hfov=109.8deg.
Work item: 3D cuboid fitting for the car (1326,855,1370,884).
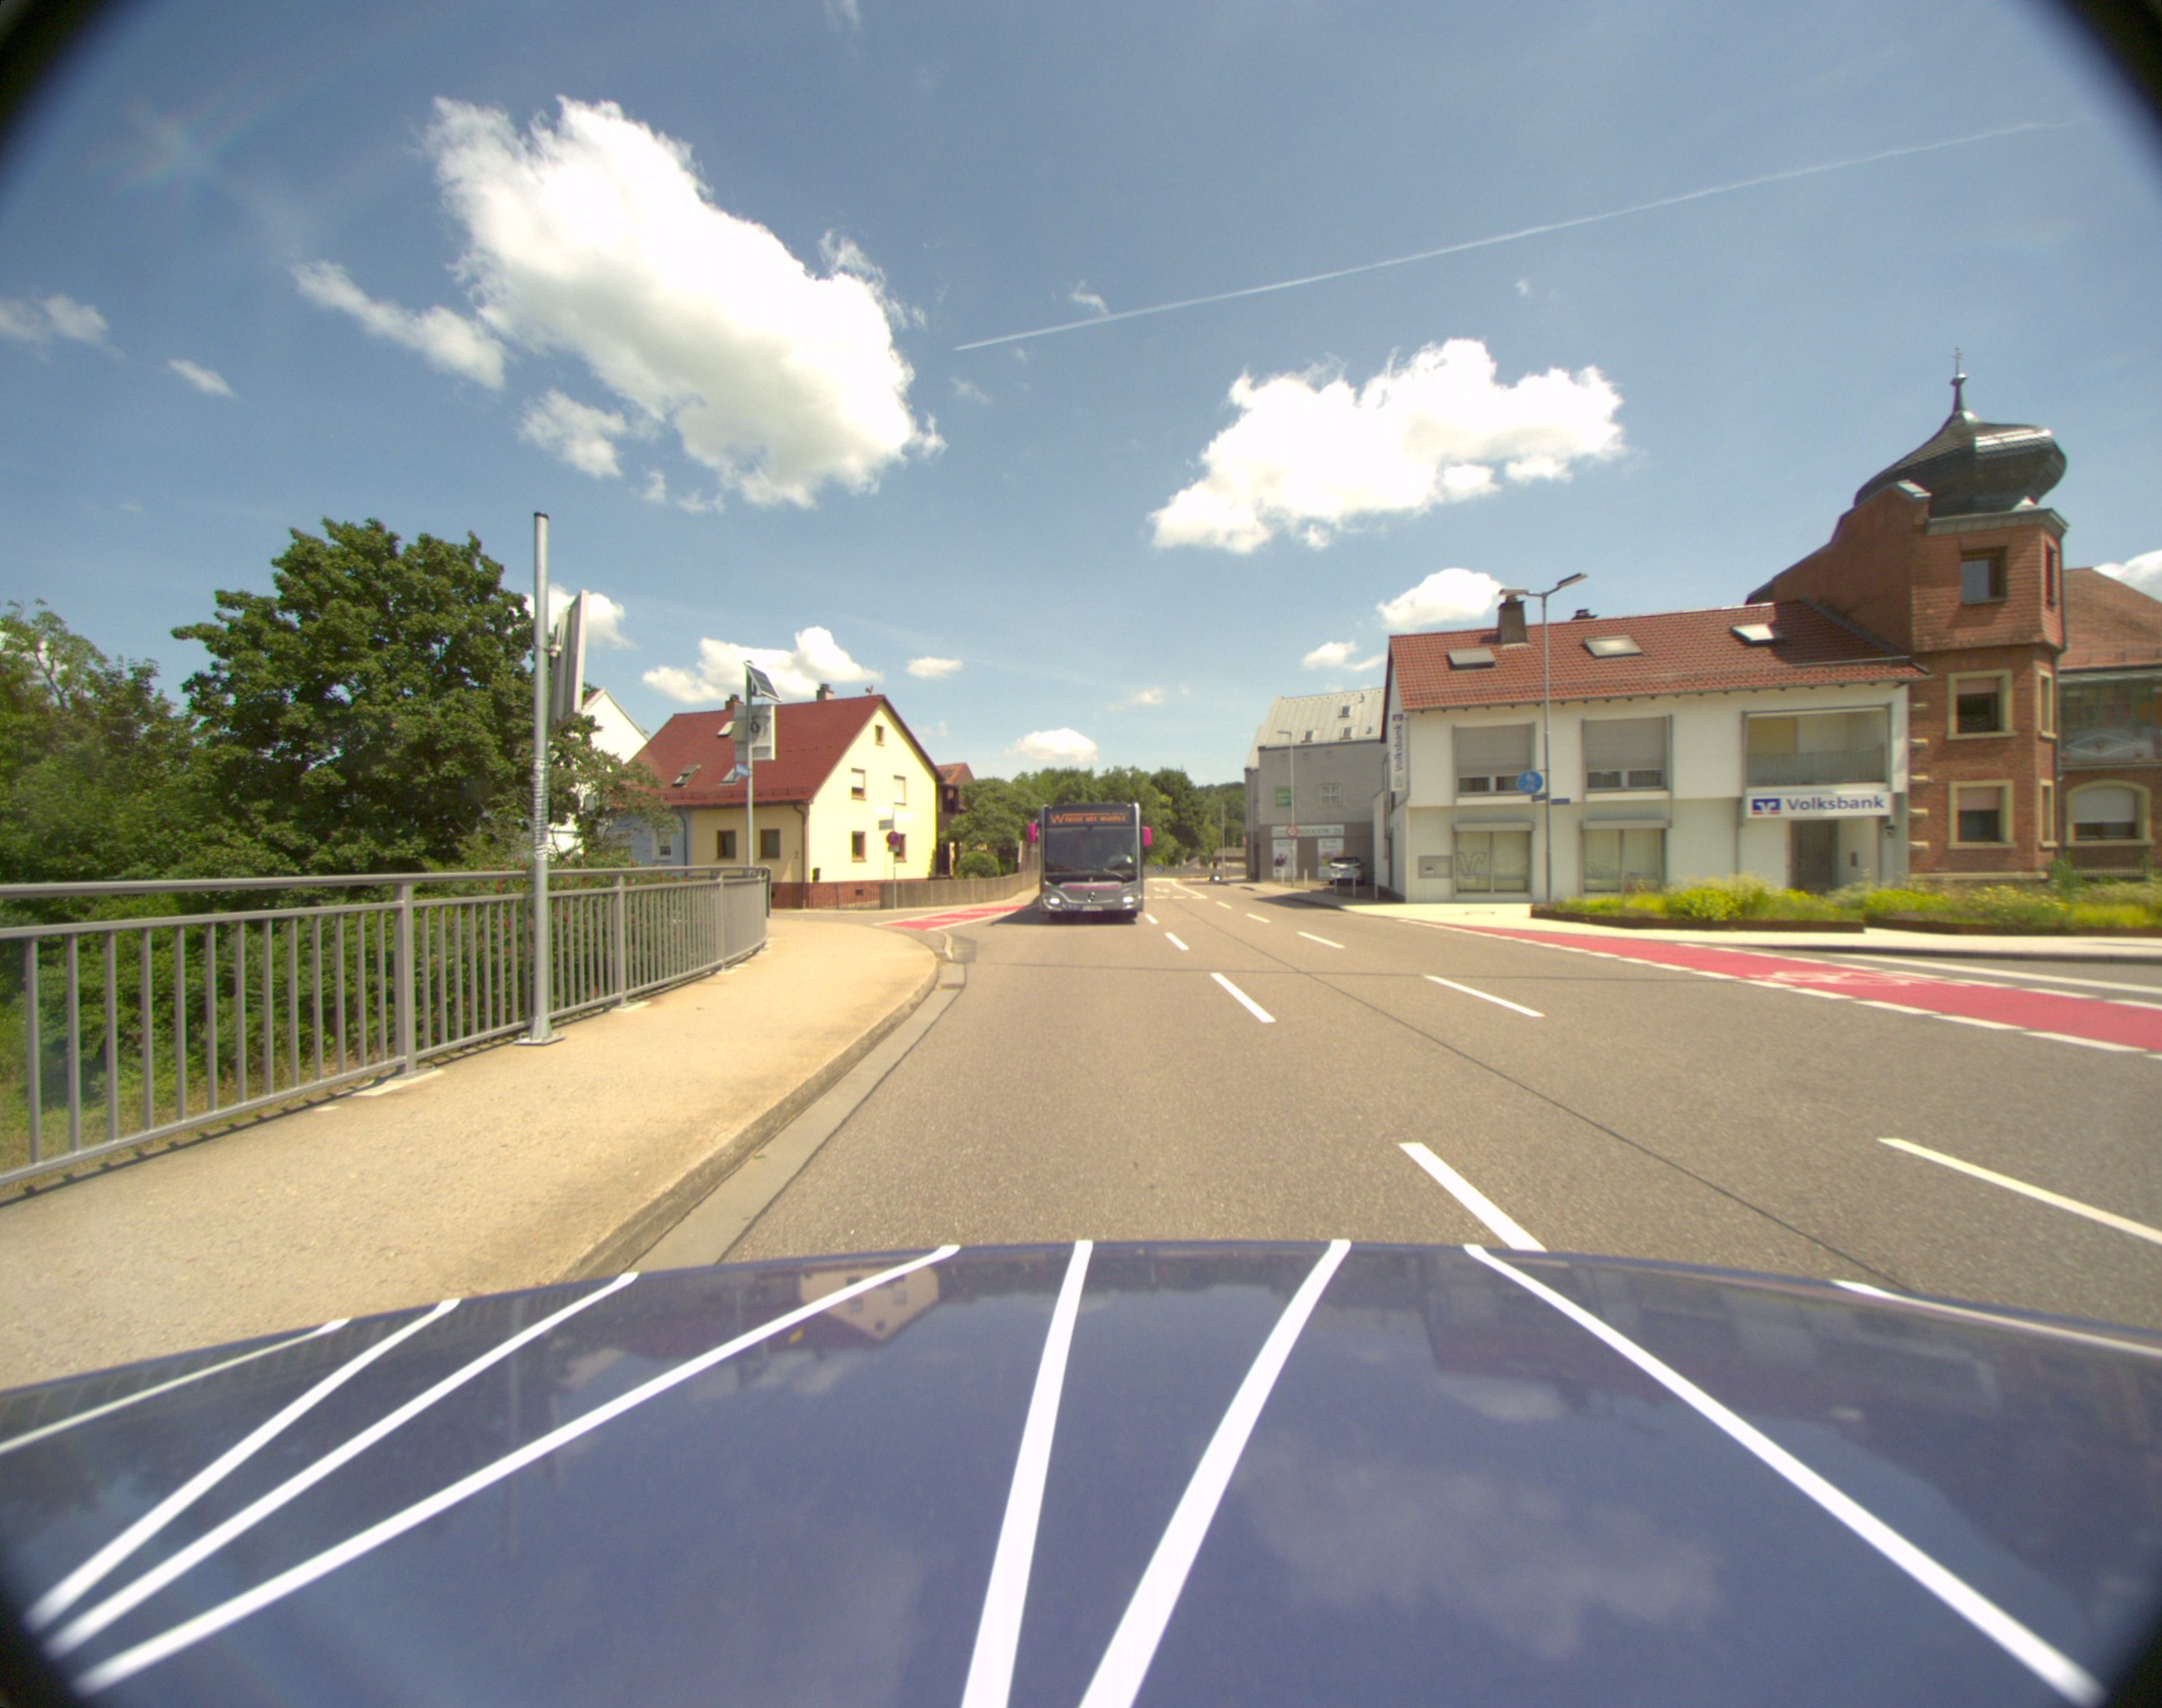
[{"bbox_3d":[15.057,0.855,42.666,1.995,1.565,4.260,0,0,24],"label":"car"}]

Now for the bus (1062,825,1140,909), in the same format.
[{"bbox_3d":[0.981,0.593,31.546,2.755,2.949,9.286,1,-2,3],"label":"bus"}]

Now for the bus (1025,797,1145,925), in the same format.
[{"bbox_3d":[0.403,0.302,22.219,2.755,2.949,9.286,0,-2,4],"label":"bus"}]
